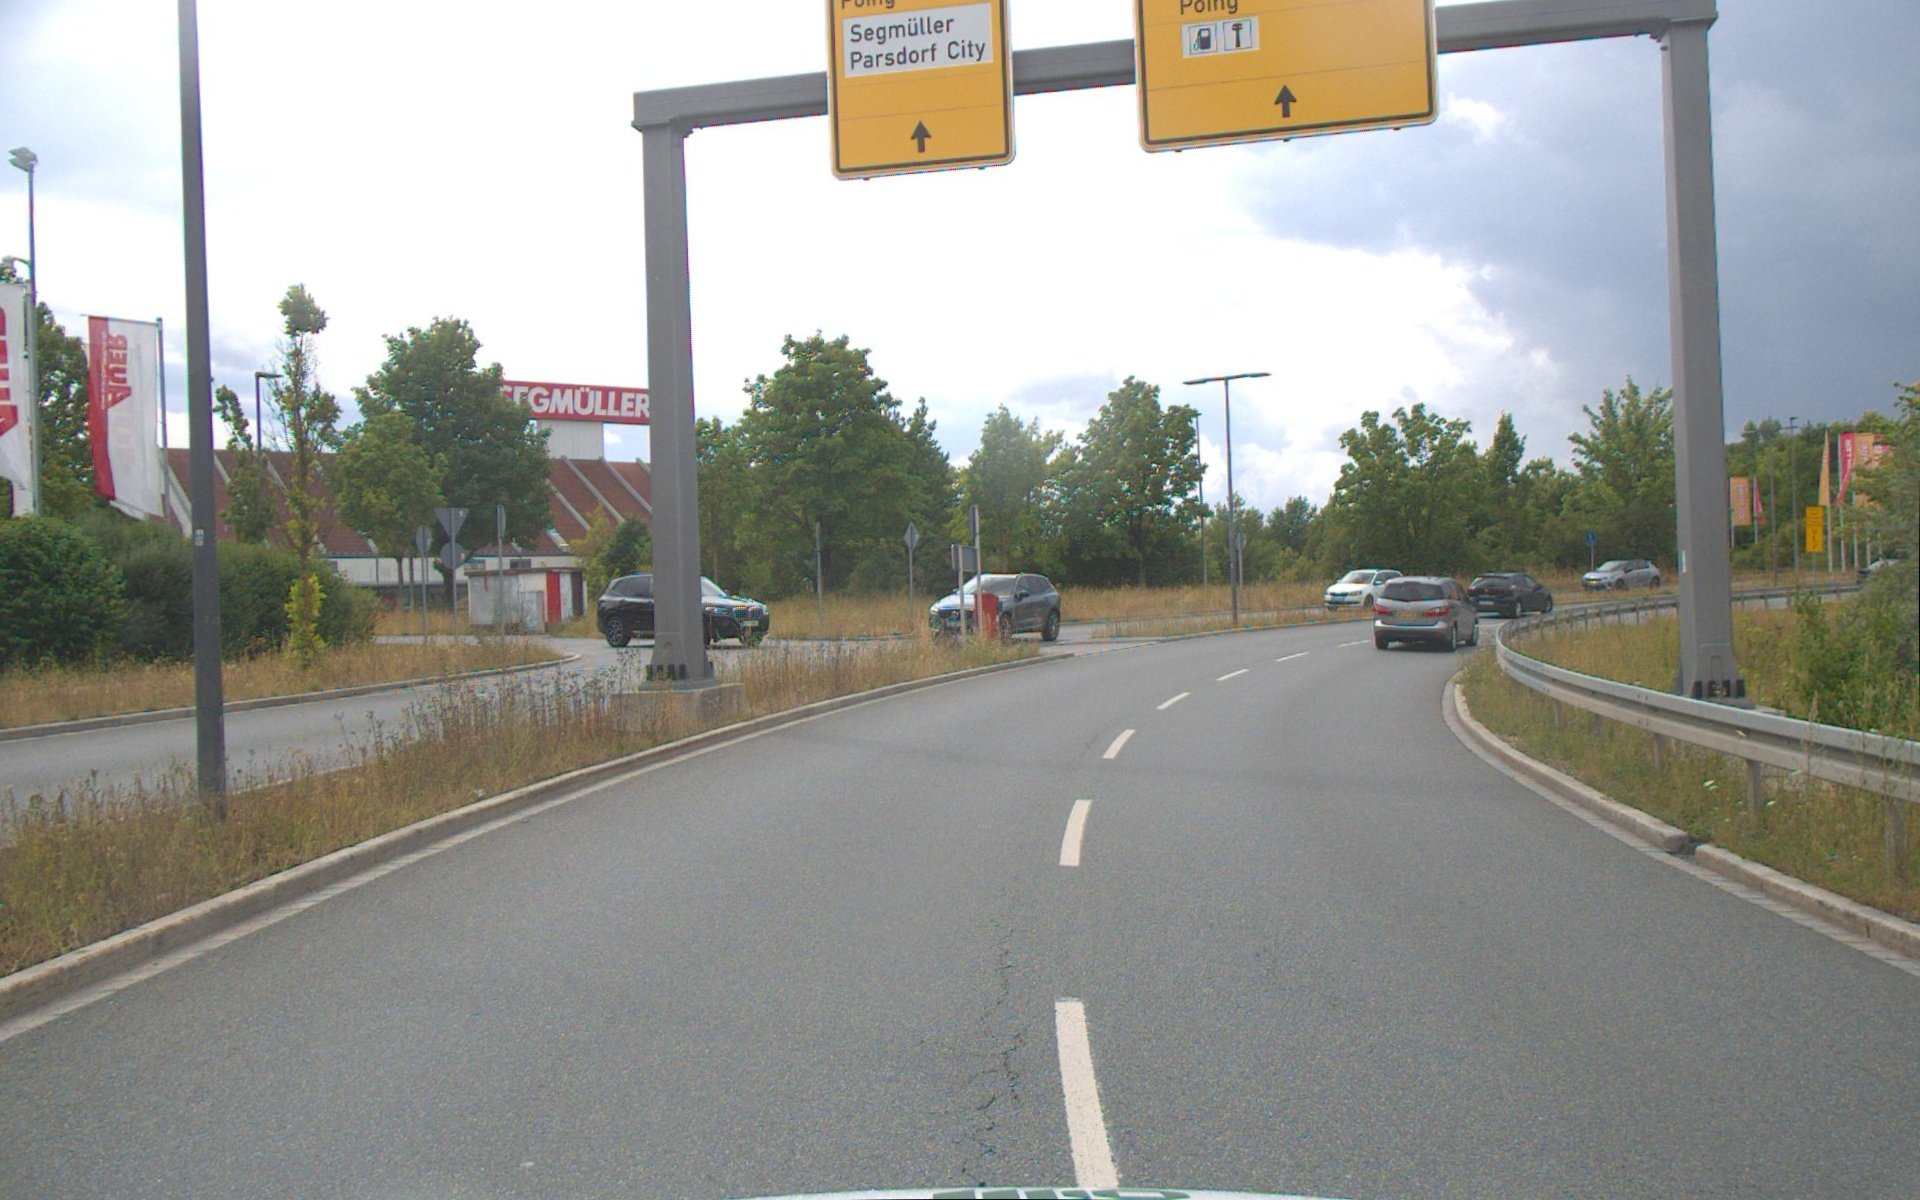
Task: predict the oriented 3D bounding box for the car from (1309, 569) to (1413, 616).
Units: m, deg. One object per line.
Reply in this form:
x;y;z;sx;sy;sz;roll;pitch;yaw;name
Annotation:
14.874;-0.302;61.230;4.233;1.663;1.693;-1;0;-43;car

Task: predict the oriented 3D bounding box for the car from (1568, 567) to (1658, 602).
29.485;-0.695;74.615;4.032;1.512;1.451;-1;0;-26;car

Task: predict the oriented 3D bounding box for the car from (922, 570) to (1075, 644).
1.006;0.141;40.141;1.775;1.658;4.680;1;1;28;car

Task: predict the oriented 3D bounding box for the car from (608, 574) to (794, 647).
-5.969;0.228;37.899;4.172;1.577;1.866;0;0;37;car

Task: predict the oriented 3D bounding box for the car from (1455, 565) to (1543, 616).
17.800;-0.306;54.524;1.836;1.633;3.723;0;0;34;car

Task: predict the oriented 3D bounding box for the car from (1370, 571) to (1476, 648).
10.562;0.203;37.561;1.732;1.645;3.919;-1;0;25;car
